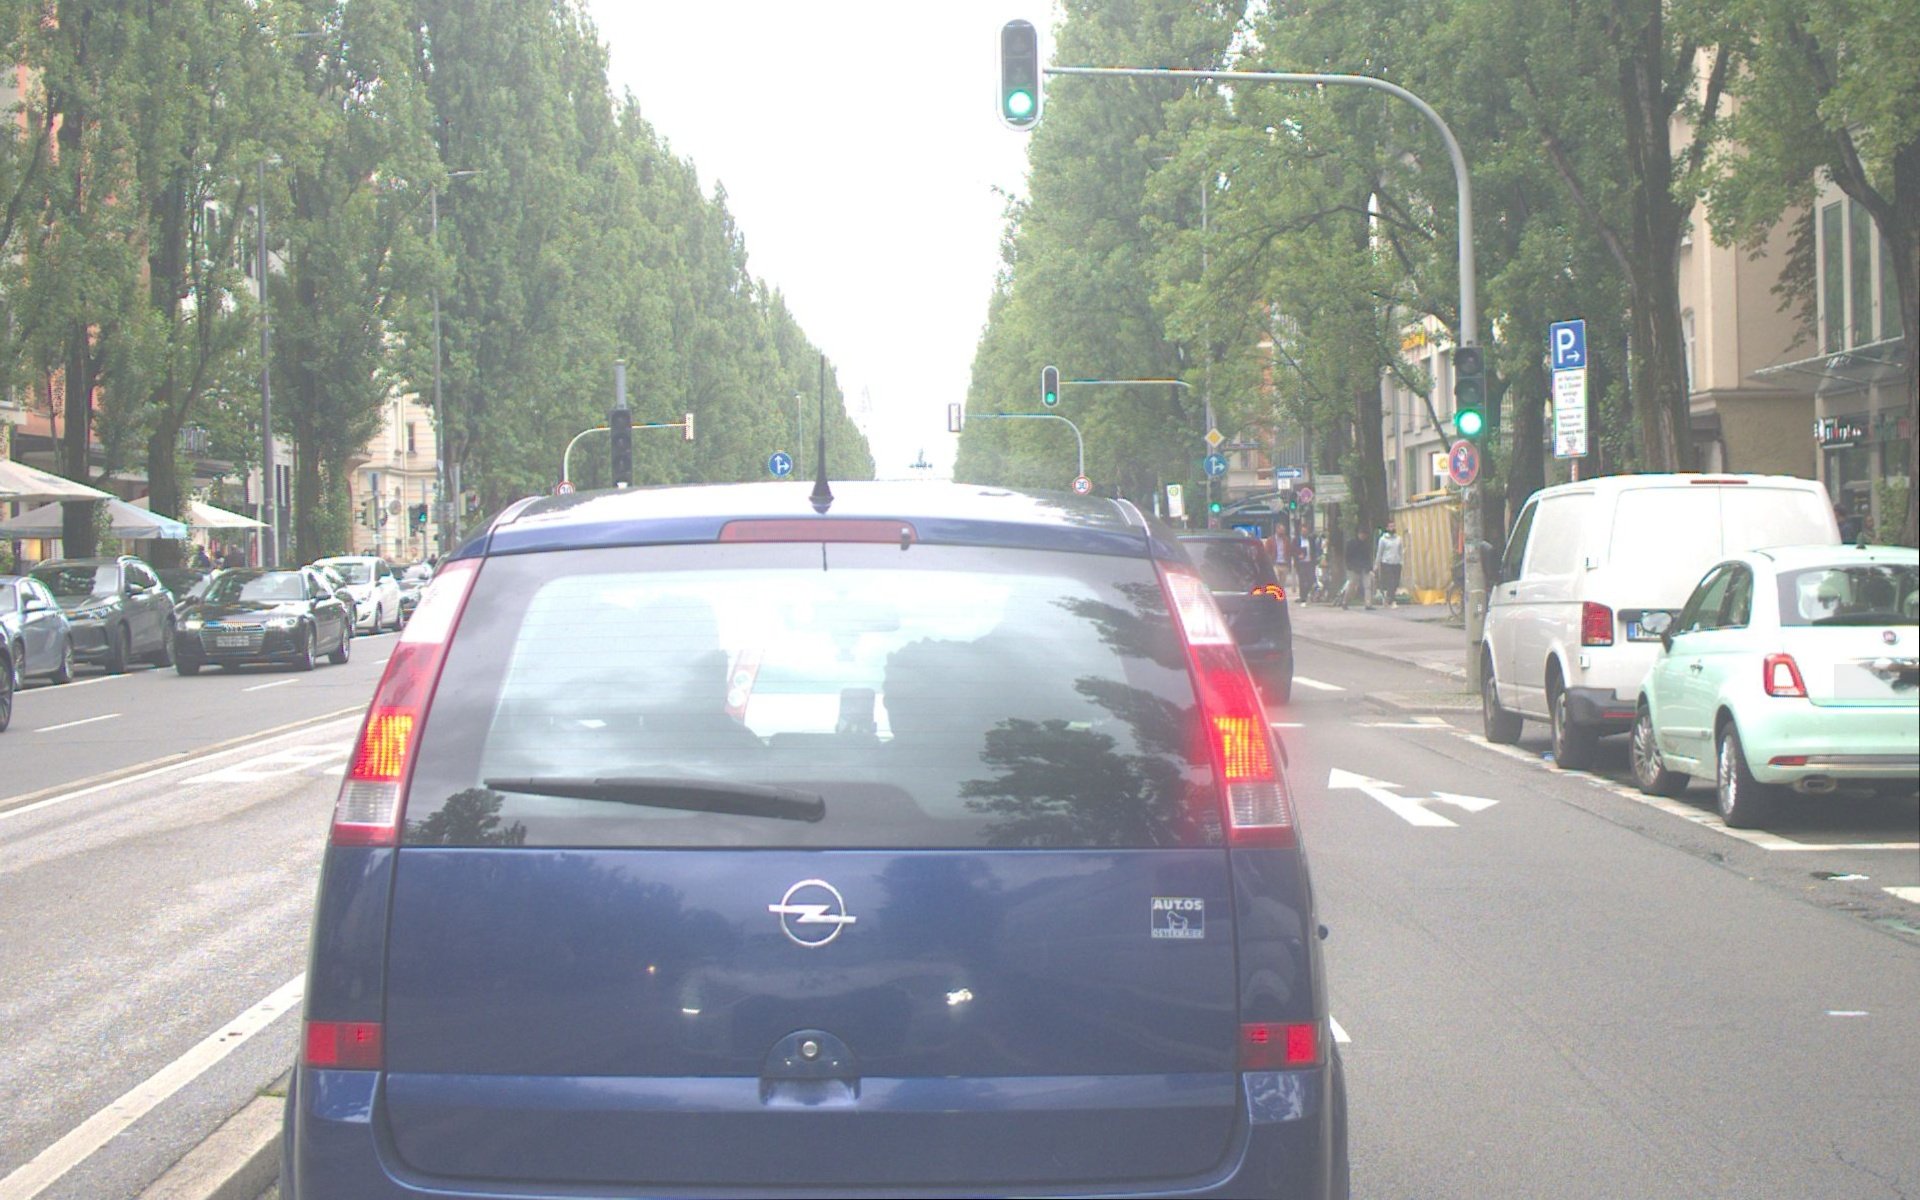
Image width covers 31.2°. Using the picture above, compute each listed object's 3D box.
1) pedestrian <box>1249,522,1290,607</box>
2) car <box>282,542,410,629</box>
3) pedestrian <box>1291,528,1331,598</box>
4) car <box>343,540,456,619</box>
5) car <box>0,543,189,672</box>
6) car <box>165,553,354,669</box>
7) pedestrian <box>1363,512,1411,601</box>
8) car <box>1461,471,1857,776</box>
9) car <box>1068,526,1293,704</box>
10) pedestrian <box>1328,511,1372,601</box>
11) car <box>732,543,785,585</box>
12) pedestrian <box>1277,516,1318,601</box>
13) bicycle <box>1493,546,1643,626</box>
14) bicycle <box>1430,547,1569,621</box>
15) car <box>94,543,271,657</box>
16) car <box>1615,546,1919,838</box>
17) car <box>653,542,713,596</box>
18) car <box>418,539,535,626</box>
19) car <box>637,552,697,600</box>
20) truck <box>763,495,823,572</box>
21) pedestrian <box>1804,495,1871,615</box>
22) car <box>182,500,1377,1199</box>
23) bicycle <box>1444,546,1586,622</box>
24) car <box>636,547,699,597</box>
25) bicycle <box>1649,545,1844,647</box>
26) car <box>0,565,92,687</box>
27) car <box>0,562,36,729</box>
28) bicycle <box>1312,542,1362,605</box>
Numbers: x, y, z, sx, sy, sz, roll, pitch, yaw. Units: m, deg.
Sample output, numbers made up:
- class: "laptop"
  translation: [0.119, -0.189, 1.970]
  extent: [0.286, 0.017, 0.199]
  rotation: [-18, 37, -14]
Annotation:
- class: "pedestrian"
  translation: [6.721, -0.777, 74.696]
  extent: [0.636, 1.820, 0.888]
  rotation: [1, 0, -10]
- class: "car"
  translation: [-12.603, -0.321, 70.761]
  extent: [1.866, 1.660, 4.120]
  rotation: [-2, 1, -1]
- class: "pedestrian"
  translation: [8.894, -0.937, 87.059]
  extent: [0.882, 1.760, 0.770]
  rotation: [-1, 1, -3]
- class: "car"
  translation: [-12.687, -0.488, 78.036]
  extent: [1.866, 1.660, 4.120]
  rotation: [-2, 1, -1]
- class: "car"
  translation: [-12.347, 0.071, 48.612]
  extent: [1.866, 1.660, 4.401]
  rotation: [-2, 1, -1]
- class: "car"
  translation: [-9.589, 0.119, 47.364]
  extent: [1.745, 1.429, 4.130]
  rotation: [-2, 1, -1]
- class: "pedestrian"
  translation: [8.761, -0.891, 70.530]
  extent: [0.719, 1.820, 0.888]
  rotation: [1, 0, -10]
- class: "car"
  translation: [4.822, 0.105, 24.384]
  extent: [1.787, 1.939, 4.731]
  rotation: [0, 1, -1]
- class: "car"
  translation: [2.073, 0.101, 33.305]
  extent: [1.896, 1.616, 4.000]
  rotation: [0, 1, 0]
- class: "pedestrian"
  translation: [7.987, -0.895, 70.379]
  extent: [0.636, 1.820, 0.888]
  rotation: [1, 0, -10]
- class: "car"
  translation: [-7.291, -1.305, 124.850]
  extent: [1.735, 1.460, 3.365]
  rotation: [-1, 1, -1]
- class: "pedestrian"
  translation: [7.348, -0.900, 74.892]
  extent: [0.636, 1.820, 0.888]
  rotation: [1, 0, -10]
- class: "bicycle"
  translation: [9.613, -0.225, 54.394]
  extent: [2.227, 1.200, 0.626]
  rotation: [-1, 1, -2]
- class: "bicycle"
  translation: [9.206, -0.284, 58.685]
  extent: [2.227, 1.200, 0.626]
  rotation: [-1, 1, -2]
- class: "car"
  translation: [-12.399, -0.034, 55.034]
  extent: [1.866, 1.660, 4.120]
  rotation: [-2, 1, -1]
- class: "car"
  translation: [4.783, 0.442, 19.299]
  extent: [1.541, 1.487, 3.523]
  rotation: [0, 1, 0]
- class: "car"
  translation: [-10.541, -1.195, 130.898]
  extent: [1.993, 2.007, 4.000]
  rotation: [-1, 1, -1]
- class: "car"
  translation: [-9.619, -0.383, 68.685]
  extent: [1.770, 1.629, 4.456]
  rotation: [-2, 1, -1]
- class: "car"
  translation: [-10.732, -0.900, 126.169]
  extent: [1.866, 1.660, 4.120]
  rotation: [-1, 1, -1]
- class: "truck"
  translation: [-7.450, -2.964, 154.247]
  extent: [2.383, 3.335, 7.111]
  rotation: [-1, 1, -1]
- class: "pedestrian"
  translation: [12.462, -0.635, 48.853]
  extent: [0.673, 1.680, 0.759]
  rotation: [-2, 0, -5]
- class: "car"
  translation: [-0.265, 0.604, 6.818]
  extent: [1.671, 1.563, 4.000]
  rotation: [0, 1, 0]
- class: "bicycle"
  translation: [9.247, -0.265, 57.306]
  extent: [2.227, 1.200, 0.626]
  rotation: [-1, 1, -2]
- class: "car"
  translation: [-10.176, -0.994, 119.748]
  extent: [1.866, 1.660, 4.120]
  rotation: [-1, 1, -1]
- class: "bicycle"
  translation: [9.696, -0.053, 42.420]
  extent: [2.227, 1.200, 0.626]
  rotation: [-1, 1, -2]
- class: "car"
  translation: [-12.268, 0.325, 43.028]
  extent: [1.733, 1.421, 4.144]
  rotation: [-2, 1, -1]
- class: "car"
  translation: [-9.324, 0.466, 29.139]
  extent: [1.697, 1.457, 4.713]
  rotation: [-2, 1, -1]
- class: "bicycle"
  translation: [8.274, -0.597, 75.547]
  extent: [0.772, 1.344, 2.449]
  rotation: [-1, 1, -1]
